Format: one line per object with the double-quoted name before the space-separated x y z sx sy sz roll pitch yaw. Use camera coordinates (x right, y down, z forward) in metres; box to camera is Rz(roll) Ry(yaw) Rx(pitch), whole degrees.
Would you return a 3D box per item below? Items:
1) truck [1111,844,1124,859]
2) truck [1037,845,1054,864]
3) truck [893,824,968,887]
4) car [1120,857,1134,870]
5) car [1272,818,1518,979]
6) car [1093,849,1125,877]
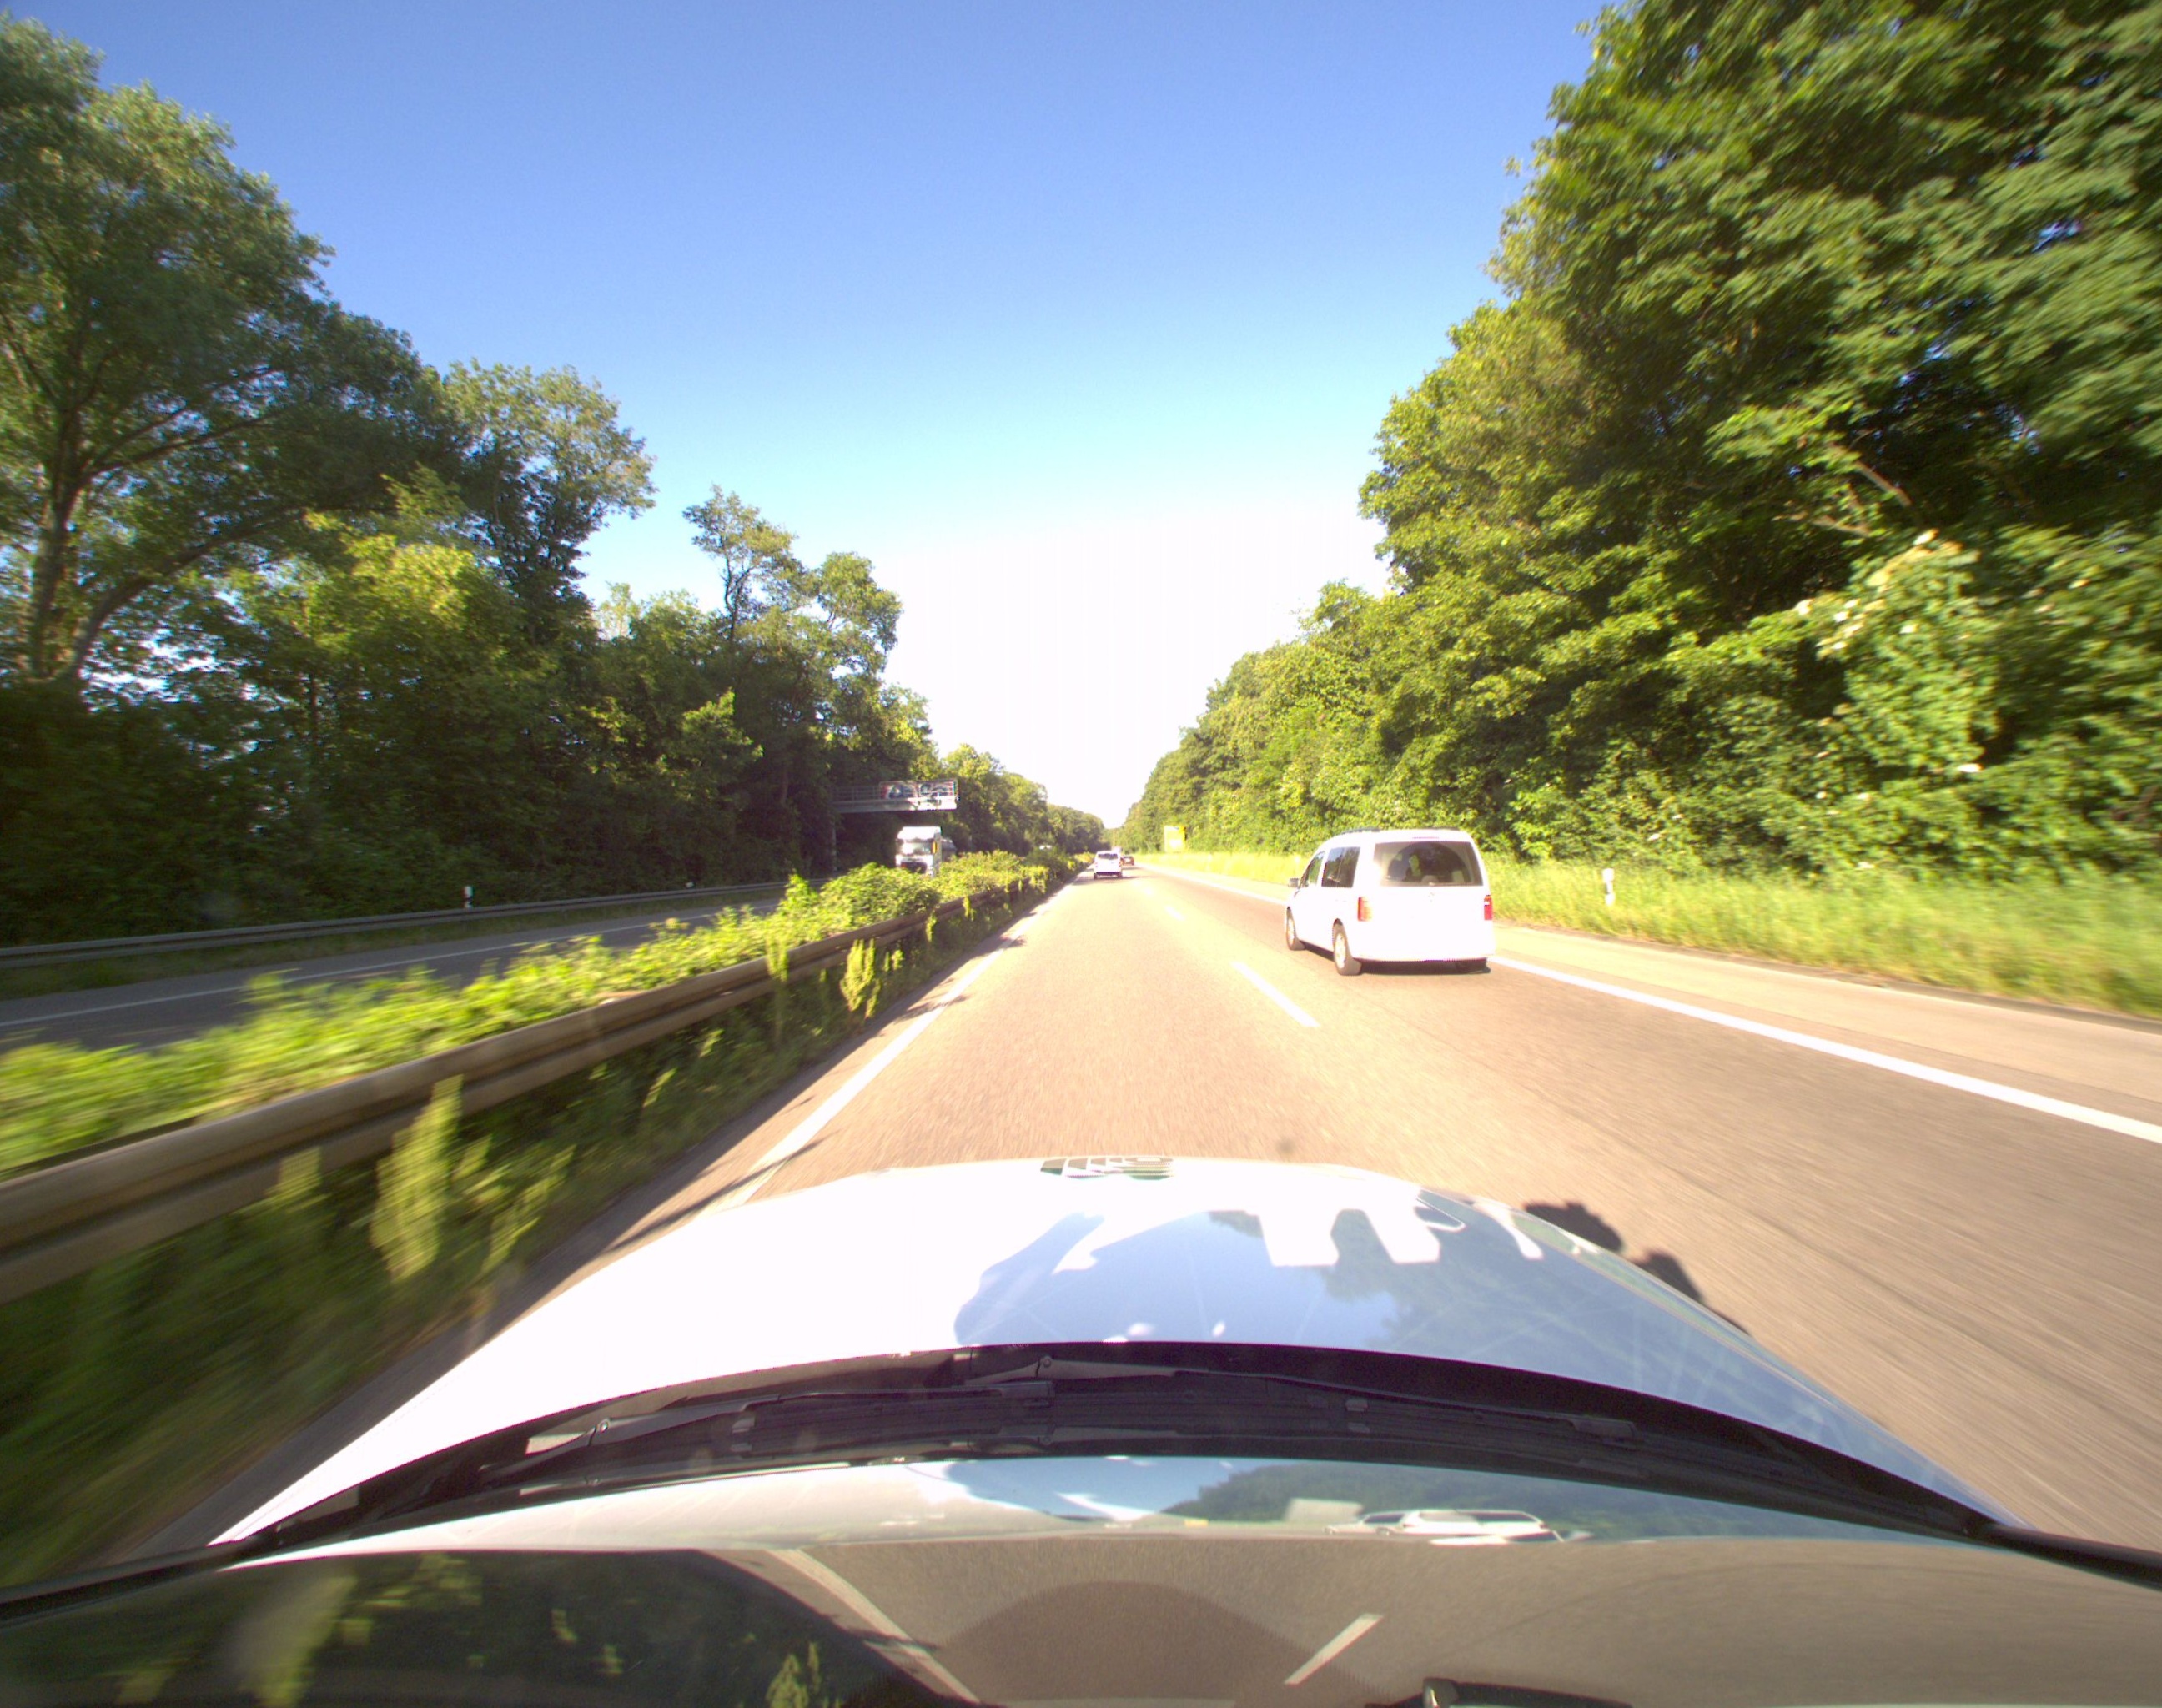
"truck" 10.472 -0.685 233.712 3.720 4.343 9.308 0 -1 2
"truck" -7.510 0.085 174.510 3.216 4.013 5.678 0 0 1
"truck" -10.308 0.172 57.163 2.759 3.955 11.471 0 -1 2
"car" 6.934 1.426 122.304 1.944 1.782 4.588 0 -1 1
"car" 4.099 0.527 11.545 1.792 1.813 4.588 0 -1 1
"car" 1.810 0.586 53.464 1.944 1.782 4.588 0 -1 1
